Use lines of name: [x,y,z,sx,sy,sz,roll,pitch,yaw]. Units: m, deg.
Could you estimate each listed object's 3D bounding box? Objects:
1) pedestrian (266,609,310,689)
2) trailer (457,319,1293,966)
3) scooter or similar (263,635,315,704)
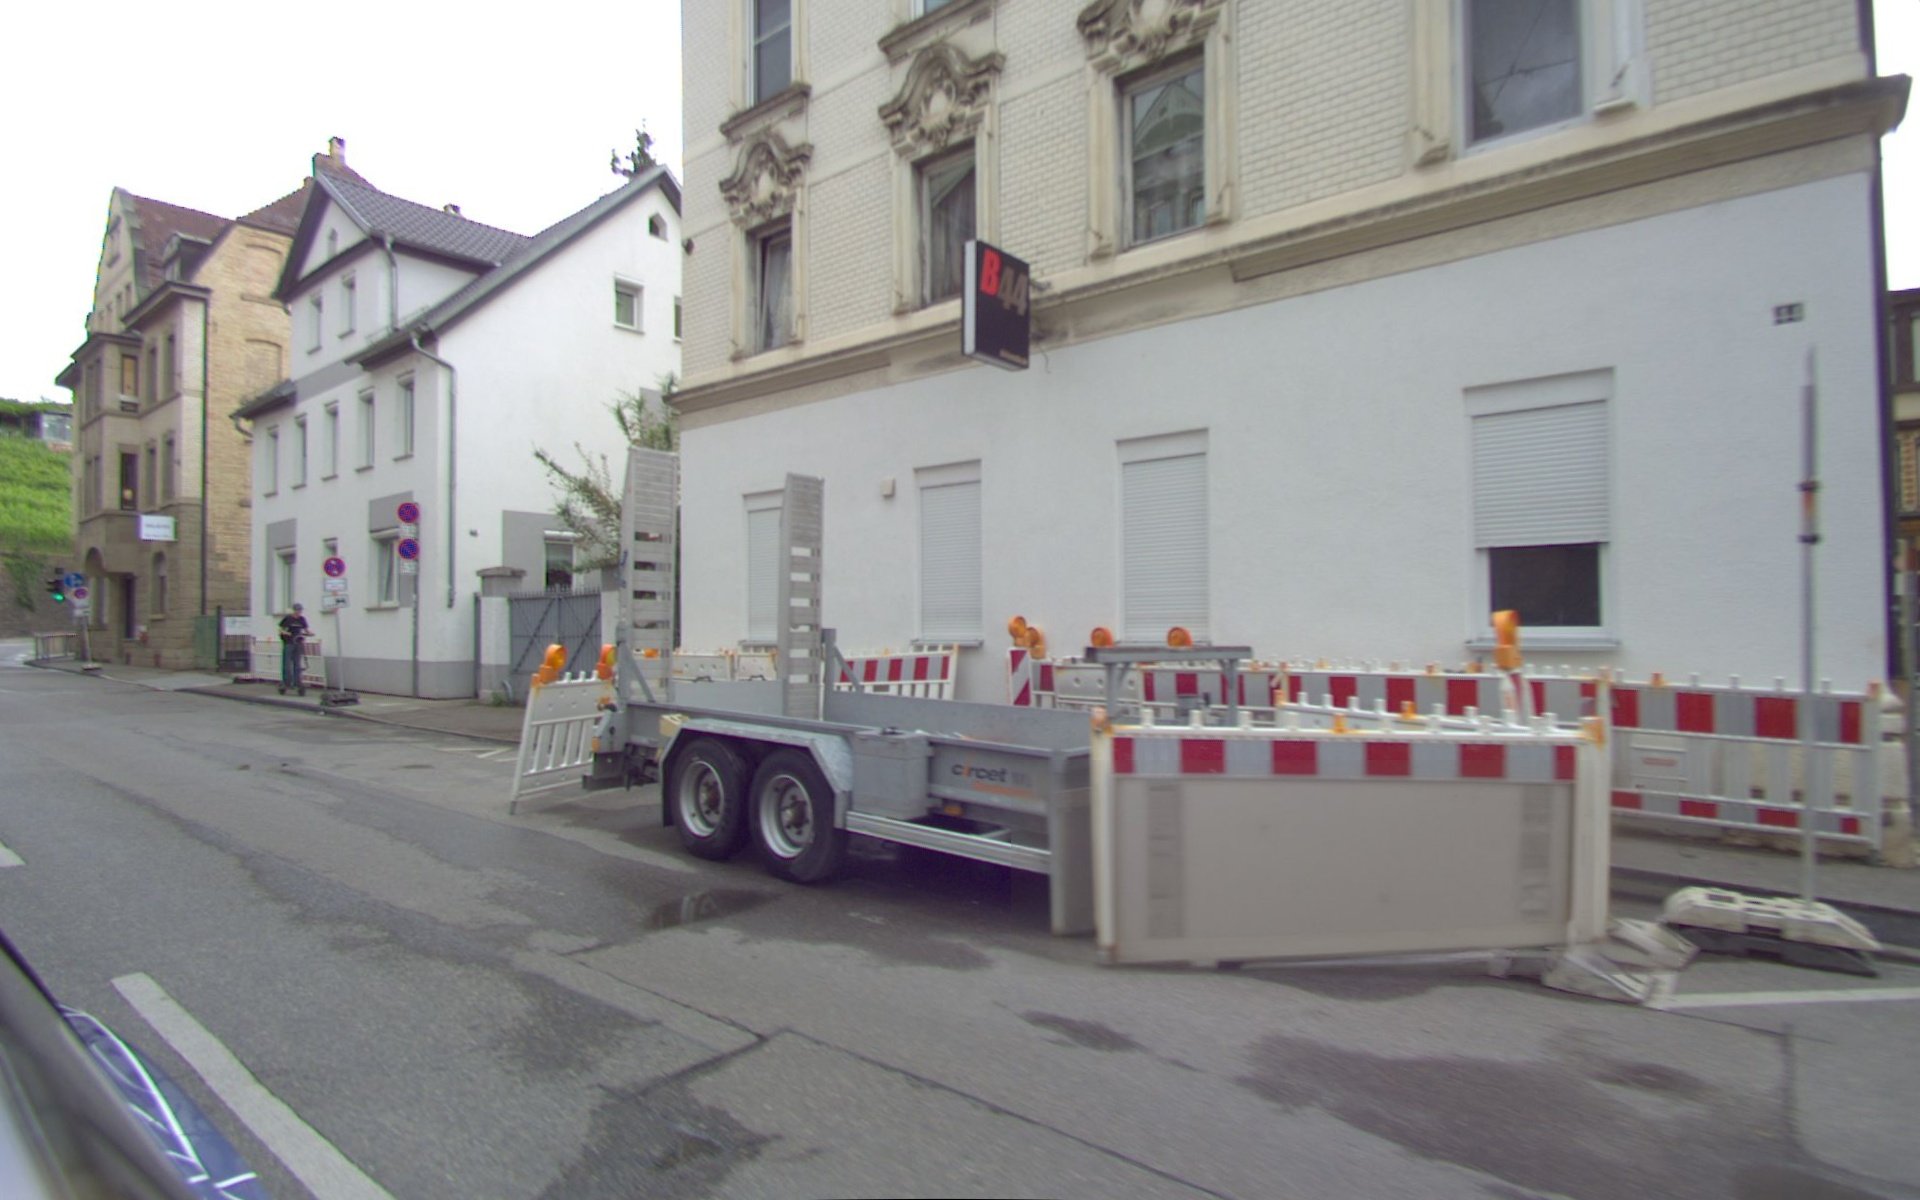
pedestrian: [-13.479,0.967,20.310,0.607,1.578,0.594,-1,0,41]
trailer: [-1.092,0.267,7.428,6.300,2.825,2.419,-1,-3,42]
scooter or similar: [-13.500,1.375,20.351,1.227,1.300,0.554,-1,0,40]
